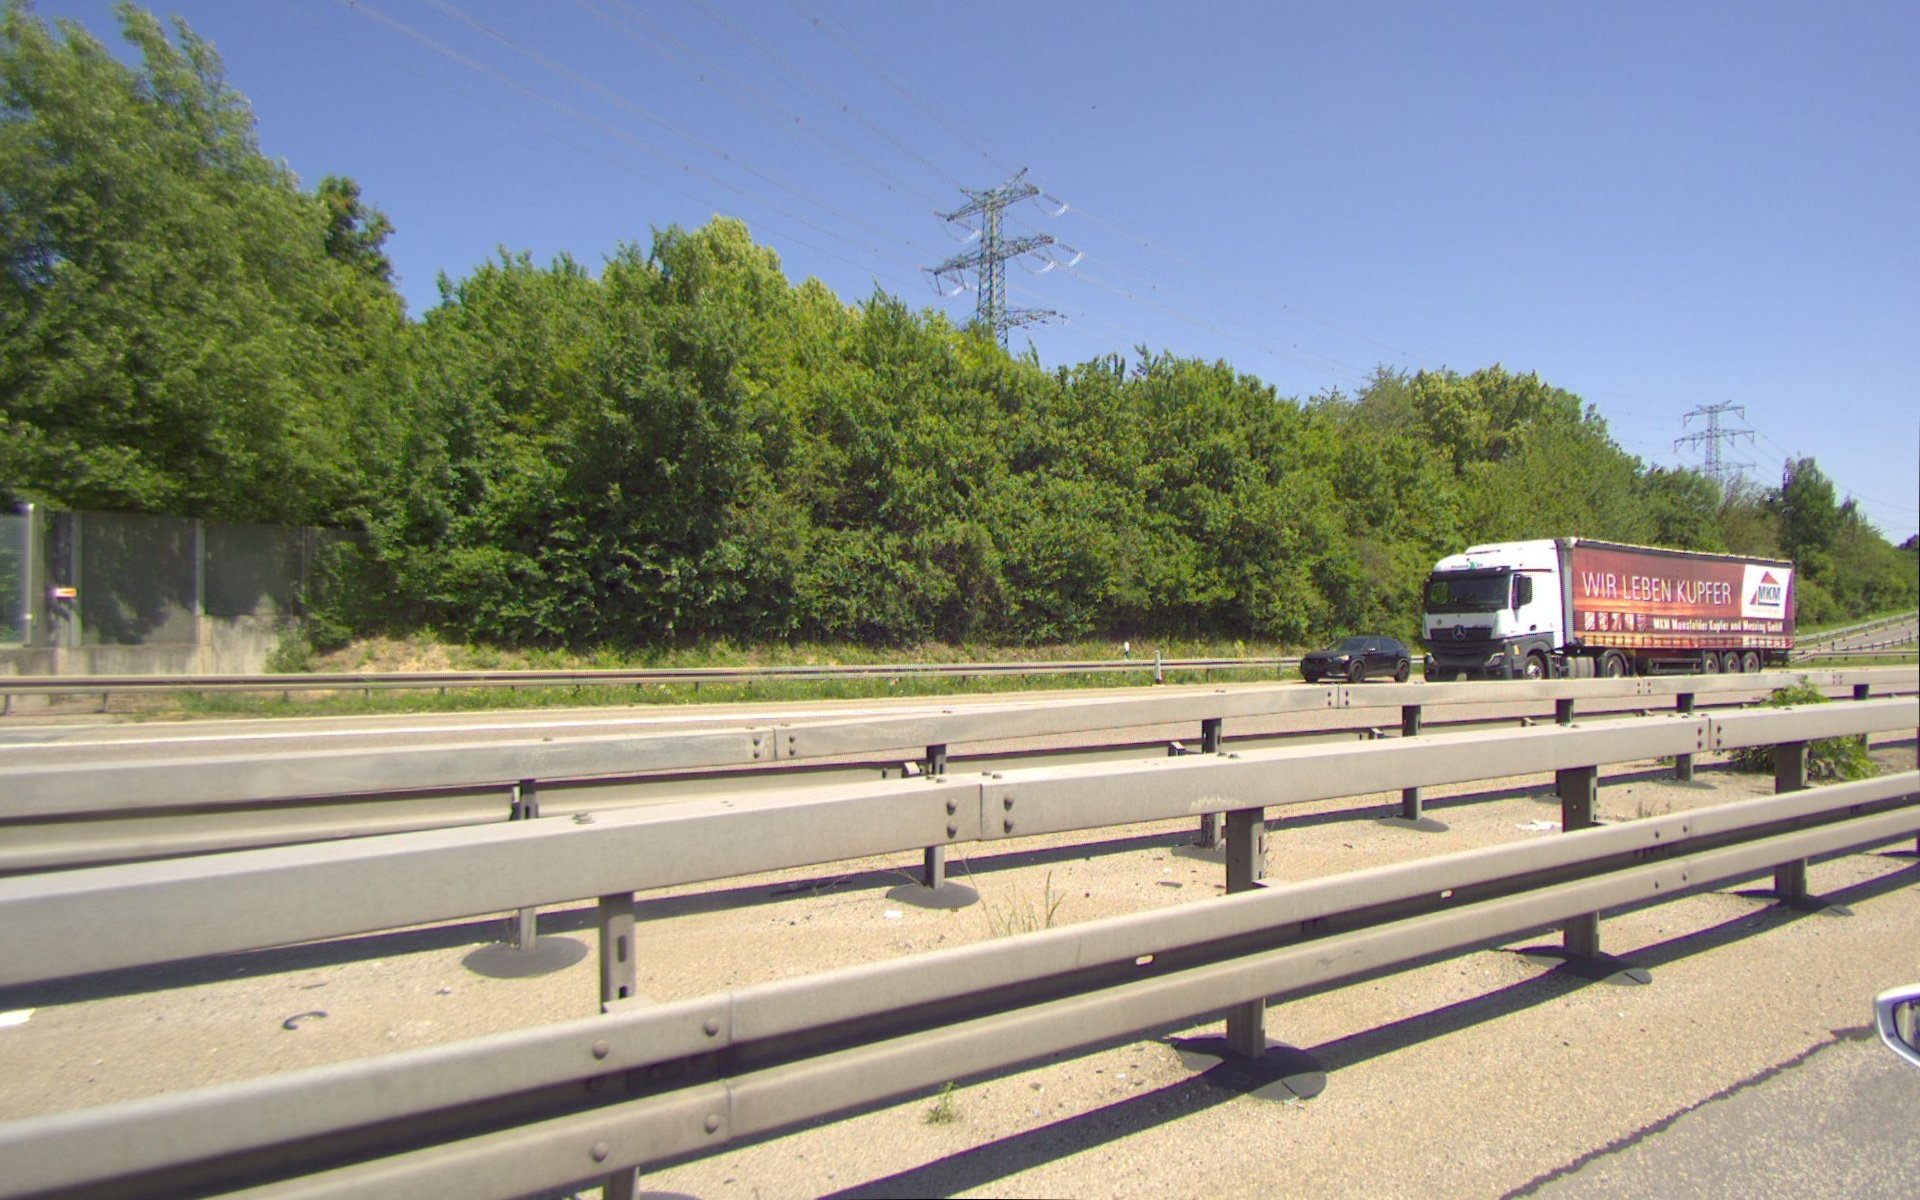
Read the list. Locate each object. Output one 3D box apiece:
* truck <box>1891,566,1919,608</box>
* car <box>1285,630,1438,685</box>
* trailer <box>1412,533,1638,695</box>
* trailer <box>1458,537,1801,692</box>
[{"bbox_3d":[179.677,-2.365,188.039,4.602,7.324,13.617,2,0,29],"label":"truck"},{"bbox_3d":[13.131,1.845,32.765,5.219,1.597,1.982,2,0,-33],"label":"car"},{"bbox_3d":[15.597,0.427,27.675,6.060,4.028,2.744,1,-2,-31],"label":"trailer"},{"bbox_3d":[20.996,0.507,30.887,14.510,4.028,2.750,1,-2,-31],"label":"trailer"}]
